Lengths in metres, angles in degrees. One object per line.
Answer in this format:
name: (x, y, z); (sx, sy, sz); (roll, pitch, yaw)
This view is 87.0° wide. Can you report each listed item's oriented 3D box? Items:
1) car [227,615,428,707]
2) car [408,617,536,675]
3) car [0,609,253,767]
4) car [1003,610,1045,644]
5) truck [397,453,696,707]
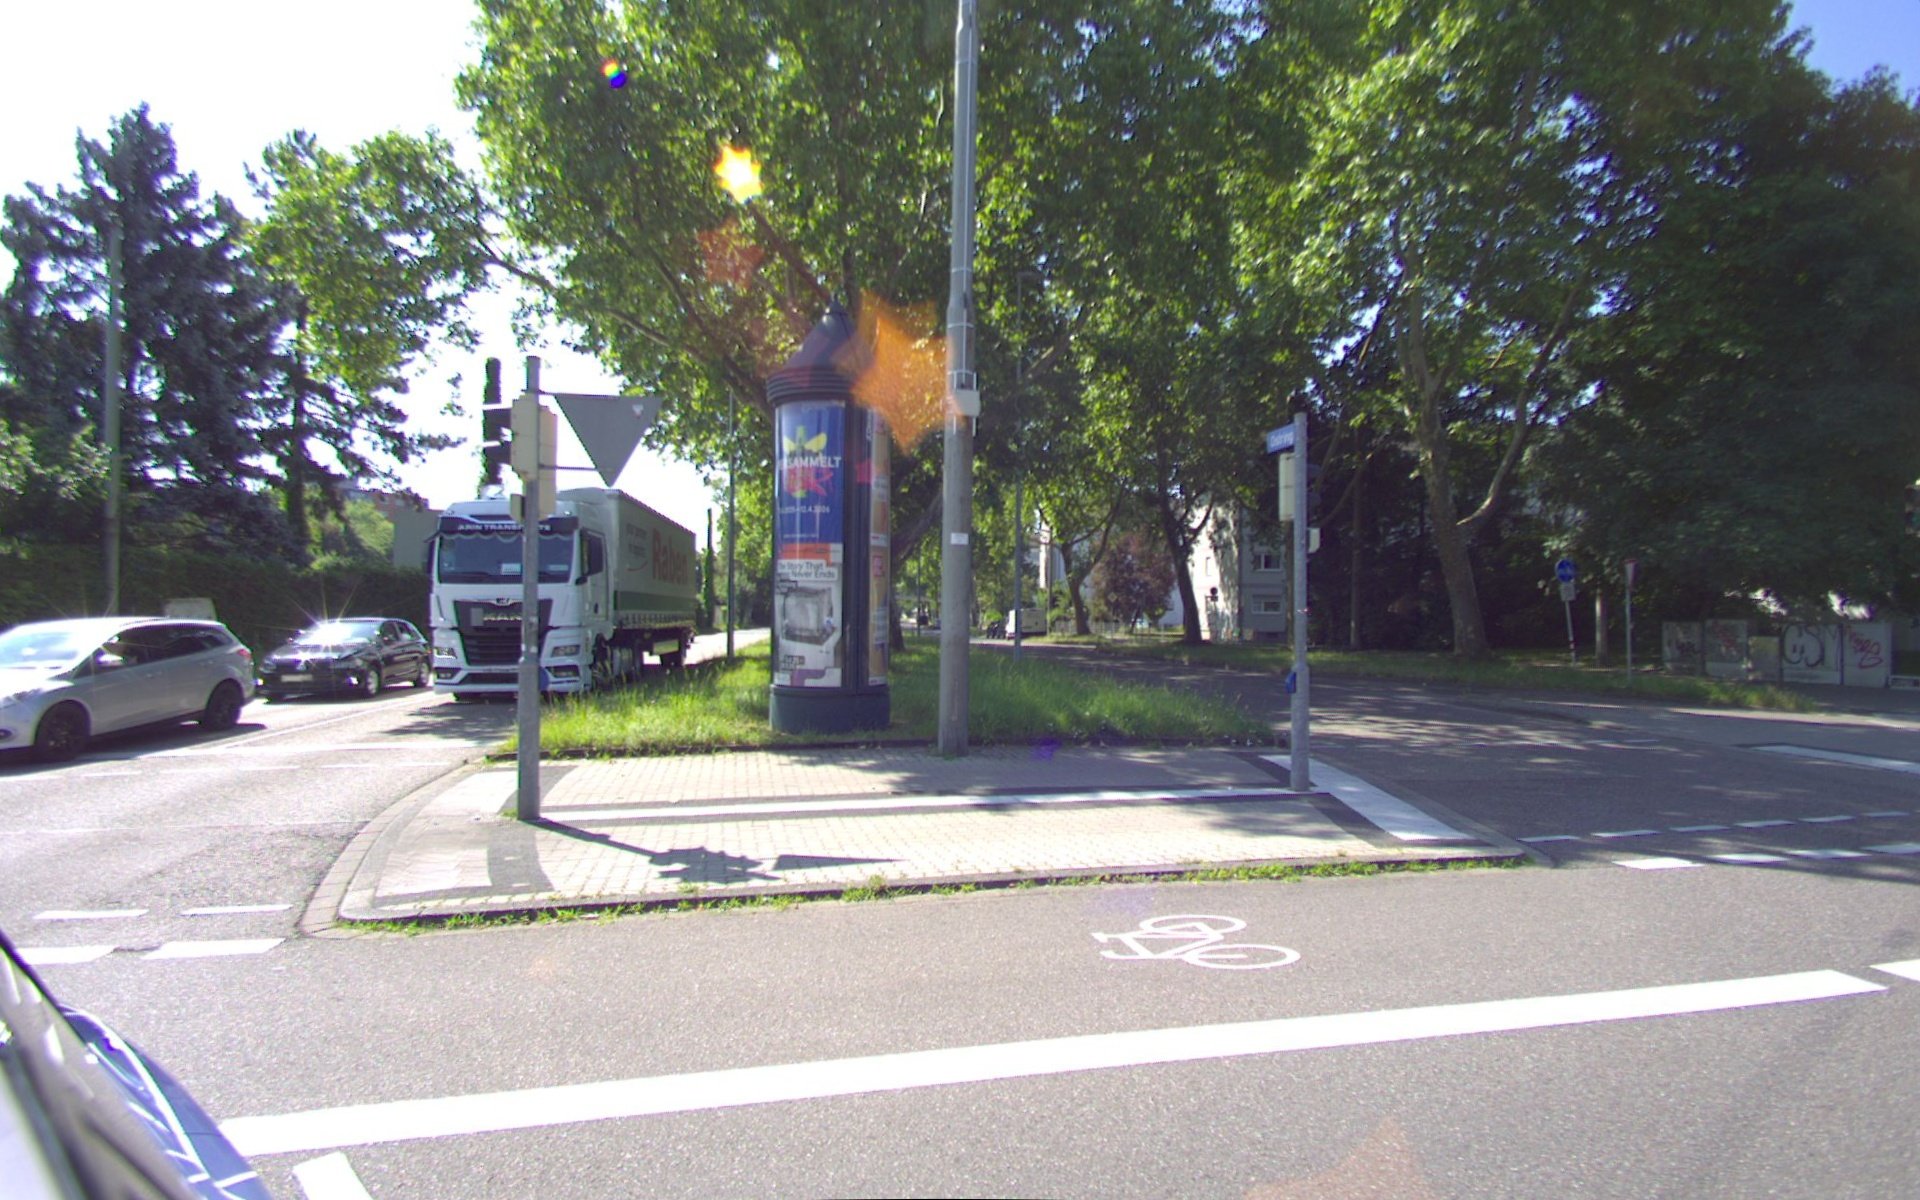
car: (-11.315, 1.020, 18.419); (1.609, 1.444, 3.744); (-1, 0, -6)
car: (-13.099, 1.179, 27.466); (1.729, 1.379, 4.377); (-1, 0, -6)
car: (-10.320, 0.870, 11.579); (1.729, 1.522, 4.403); (0, 0, -6)
car: (4.519, 1.877, 71.934); (1.968, 2.334, 4.667); (1, -1, -9)
truck: (-8.448, -0.132, 23.337); (2.810, 4.038, 14.327); (1, -2, -8)
